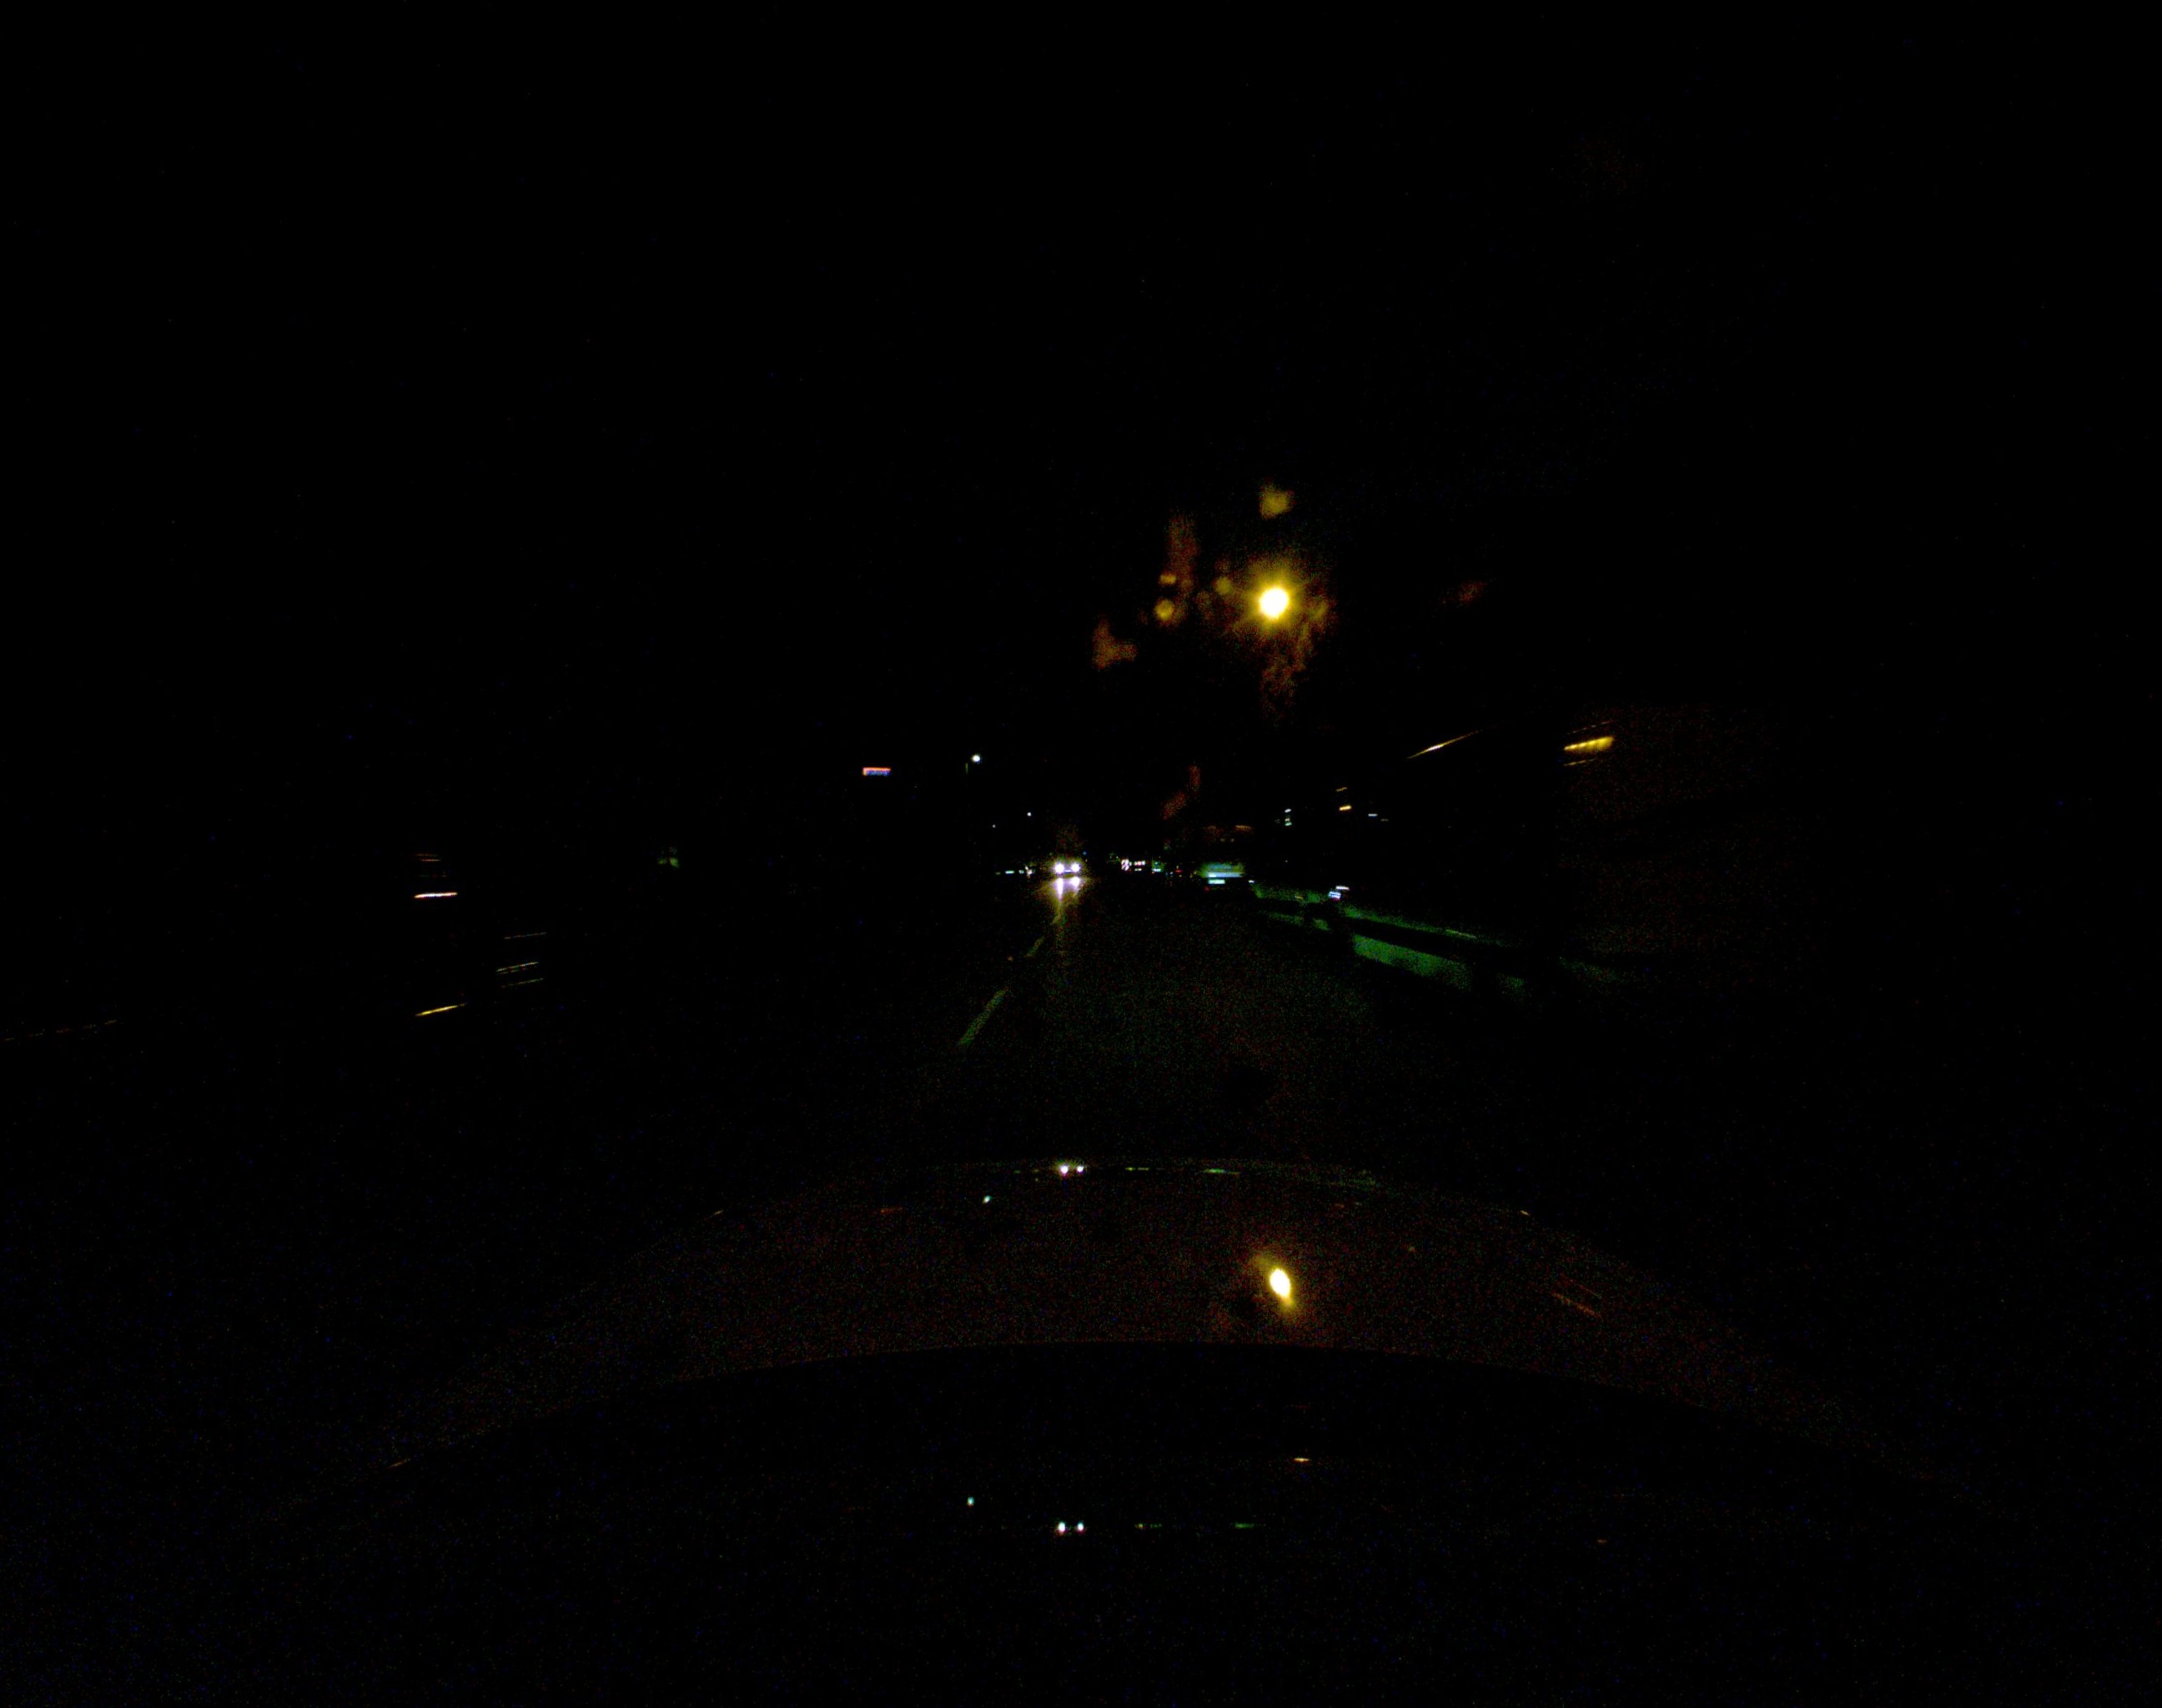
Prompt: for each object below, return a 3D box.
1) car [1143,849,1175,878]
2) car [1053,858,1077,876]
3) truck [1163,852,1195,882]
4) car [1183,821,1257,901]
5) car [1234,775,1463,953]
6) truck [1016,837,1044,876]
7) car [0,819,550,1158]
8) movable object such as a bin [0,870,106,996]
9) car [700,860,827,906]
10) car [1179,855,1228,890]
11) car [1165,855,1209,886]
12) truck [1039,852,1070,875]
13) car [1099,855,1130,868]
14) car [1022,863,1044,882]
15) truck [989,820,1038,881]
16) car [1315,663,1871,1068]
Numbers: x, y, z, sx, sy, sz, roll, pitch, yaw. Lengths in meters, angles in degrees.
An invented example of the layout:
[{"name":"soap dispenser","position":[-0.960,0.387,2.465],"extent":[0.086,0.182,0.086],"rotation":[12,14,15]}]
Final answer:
[{"name":"car","position":[5.803,0.732,61.061],"extent":[1.986,2.014,4.913],"rotation":[-2,-1,2]},{"name":"car","position":[-1.306,1.113,68.587],"extent":[1.851,1.420,4.000],"rotation":[-1,-1,1]},{"name":"truck","position":[5.639,0.755,47.063],"extent":[1.365,1.644,3.812],"rotation":[-1,-1,1]},{"name":"car","position":[4.838,0.246,29.128],"extent":[1.985,2.526,5.915],"rotation":[1,0,4]},{"name":"car","position":[4.492,0.172,14.928],"extent":[2.122,2.571,5.906],"rotation":[1,0,-1]},{"name":"truck","position":[-5.833,0.348,92.372],"extent":[2.768,4.120,9.322],"rotation":[-2,-1,-6]},{"name":"car","position":[-6.720,0.784,6.661],"extent":[1.807,1.849,4.414],"rotation":[-1,-1,0]},{"name":"movable object such as a bin","position":[-13.849,0.963,9.983],"extent":[1.850,1.500,1.610],"rotation":[-1,-1,2]},{"name":"car","position":[-11.830,1.025,30.404],"extent":[4.094,1.432,1.906],"rotation":[3,1,19]},{"name":"car","position":[5.293,0.776,35.638],"extent":[1.761,1.412,4.555],"rotation":[-1,0,4]},{"name":"car","position":[5.378,0.810,41.792],"extent":[1.938,1.489,5.015],"rotation":[-1,0,4]},{"name":"truck","position":[-4.709,1.647,140.746],"extent":[2.764,3.783,9.077],"rotation":[-1,-1,-19]},{"name":"car","position":[5.079,1.139,123.494],"extent":[4.342,1.646,1.879],"rotation":[-4,0,-21]},{"name":"car","position":[-4.550,1.722,77.737],"extent":[1.939,1.717,5.192],"rotation":[-2,-1,-3]},{"name":"truck","position":[-4.739,-0.173,58.804],"extent":[2.738,4.034,9.557],"rotation":[-1,-1,0]},{"name":"car","position":[4.177,0.091,8.276],"extent":[1.986,2.571,6.016],"rotation":[1,0,1]}]
